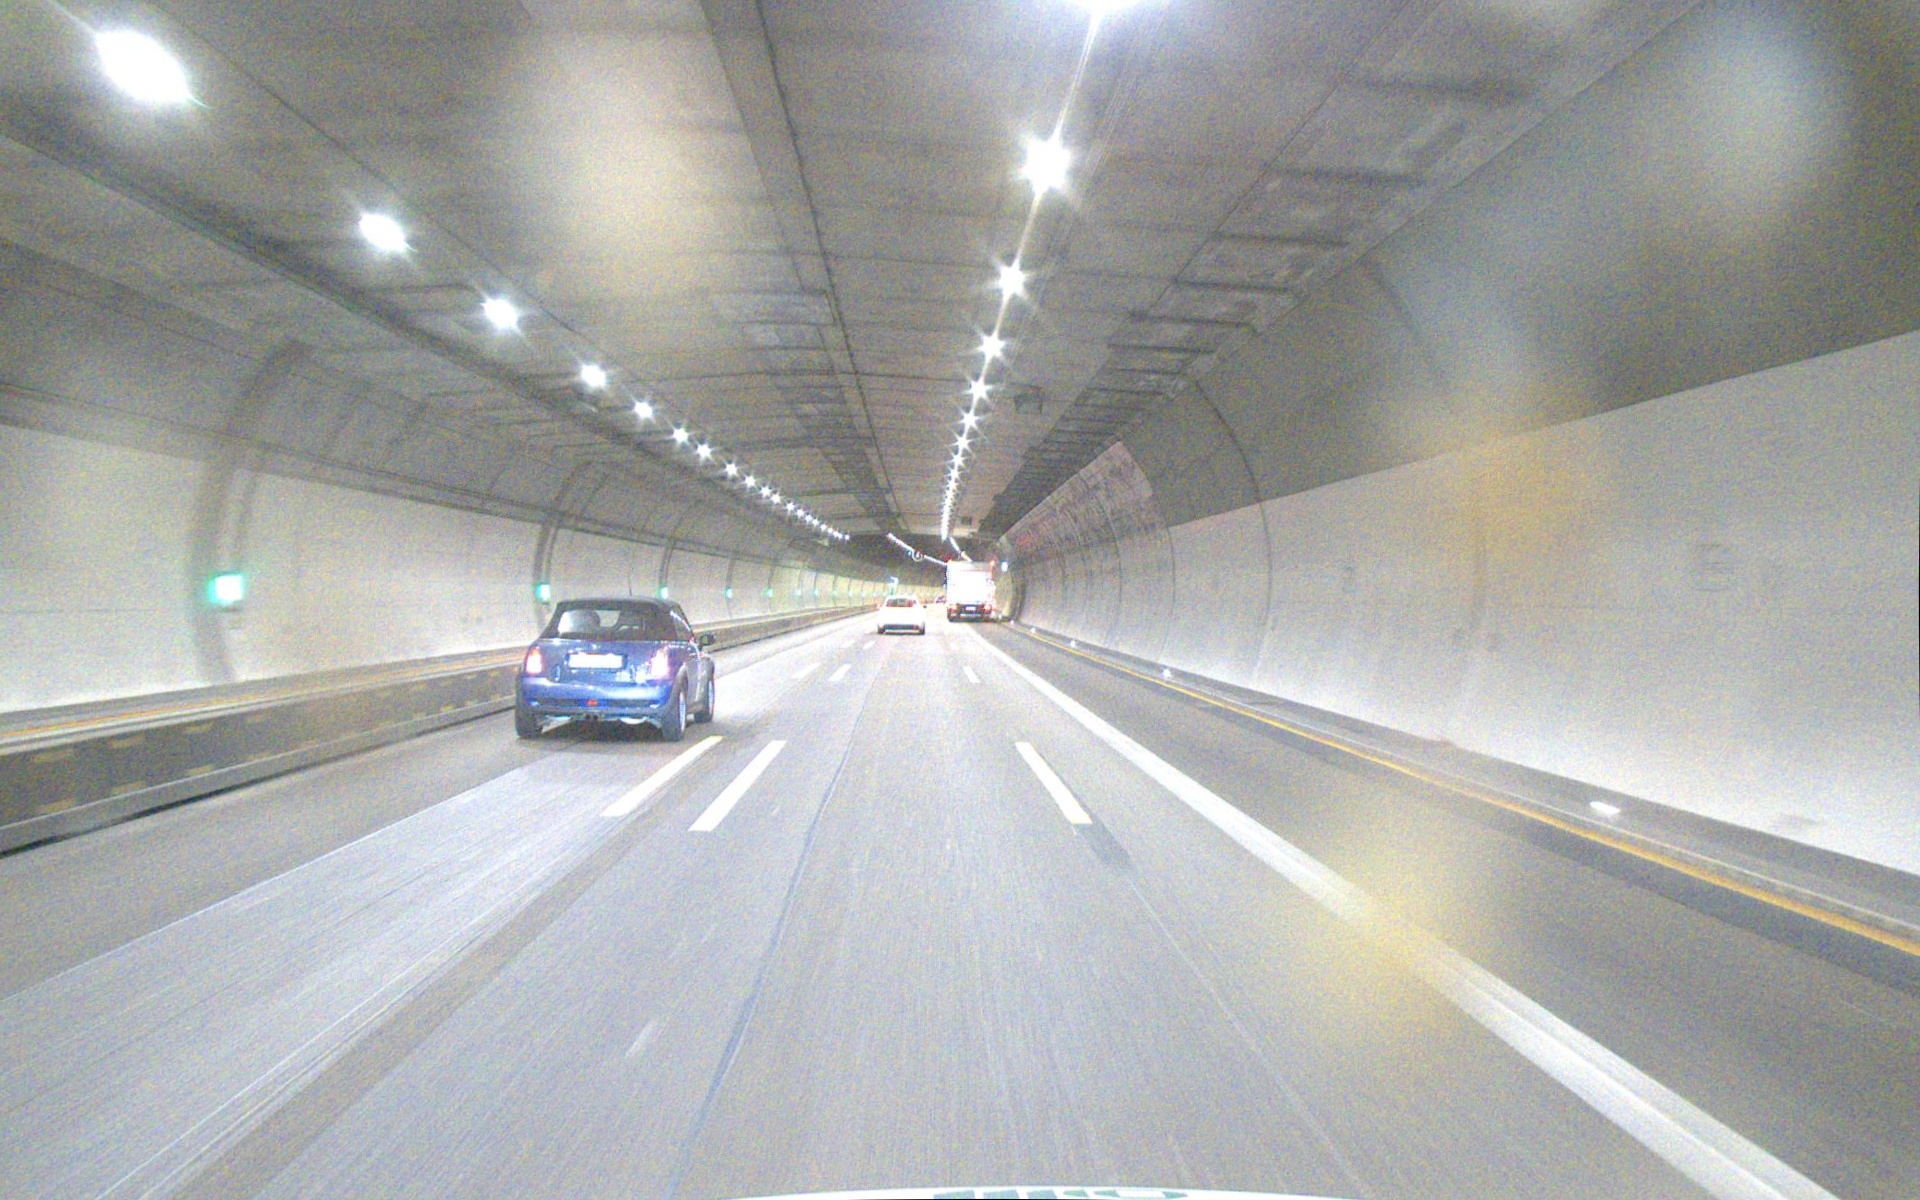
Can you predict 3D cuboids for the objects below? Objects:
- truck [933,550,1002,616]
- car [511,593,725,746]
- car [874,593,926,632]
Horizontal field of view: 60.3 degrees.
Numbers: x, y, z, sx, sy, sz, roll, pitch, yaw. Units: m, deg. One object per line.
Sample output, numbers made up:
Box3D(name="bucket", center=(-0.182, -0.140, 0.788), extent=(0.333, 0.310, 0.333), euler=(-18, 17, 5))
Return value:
Box3D(name="truck", center=(0.329, -1.025, 98.760), extent=(3.521, 3.714, 10.715), euler=(0, 0, -3))
Box3D(name="car", center=(-3.547, 0.660, 17.780), extent=(1.655, 1.442, 3.921), euler=(0, 0, -3))
Box3D(name="car", center=(-2.362, 0.477, 64.403), extent=(1.954, 1.437, 4.740), euler=(0, 0, -3))
